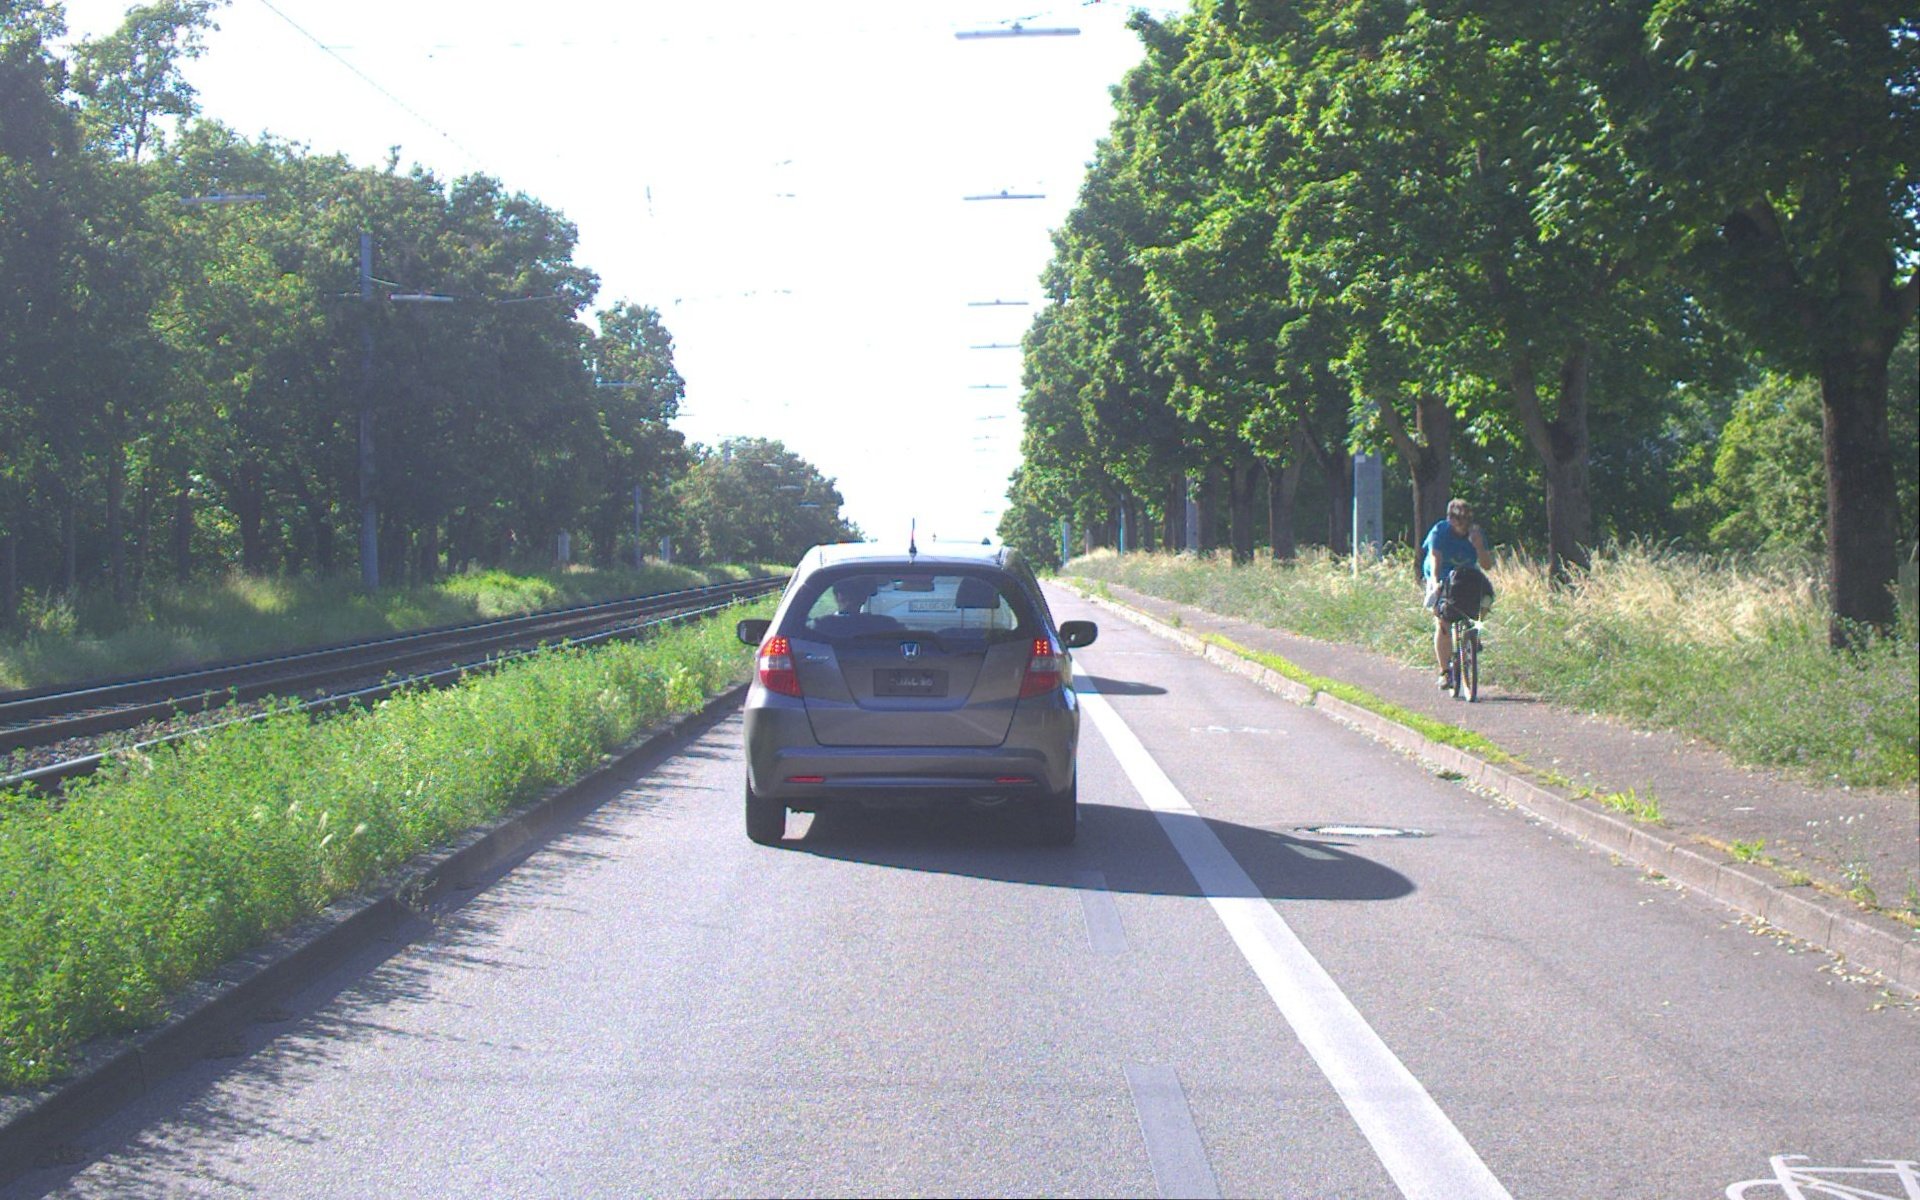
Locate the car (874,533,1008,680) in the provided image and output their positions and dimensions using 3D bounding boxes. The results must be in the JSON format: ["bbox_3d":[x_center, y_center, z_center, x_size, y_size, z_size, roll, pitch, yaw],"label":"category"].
[{"bbox_3d":[-0.178,0.070,37.639,1.351,1.522,3.123,-1,0,1],"label":"car"}]

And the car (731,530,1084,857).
[{"bbox_3d":[-0.279,0.414,18.416,1.670,1.510,3.674,1,2,-1],"label":"car"}]

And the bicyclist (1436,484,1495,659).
[{"bbox_3d":[4.387,-0.251,29.848,0.405,1.501,0.574,-1,1,0],"label":"bicyclist"}]

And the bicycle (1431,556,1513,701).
[{"bbox_3d":[4.388,0.227,29.509,0.418,1.184,1.722,-1,1,0],"label":"bicycle"}]
